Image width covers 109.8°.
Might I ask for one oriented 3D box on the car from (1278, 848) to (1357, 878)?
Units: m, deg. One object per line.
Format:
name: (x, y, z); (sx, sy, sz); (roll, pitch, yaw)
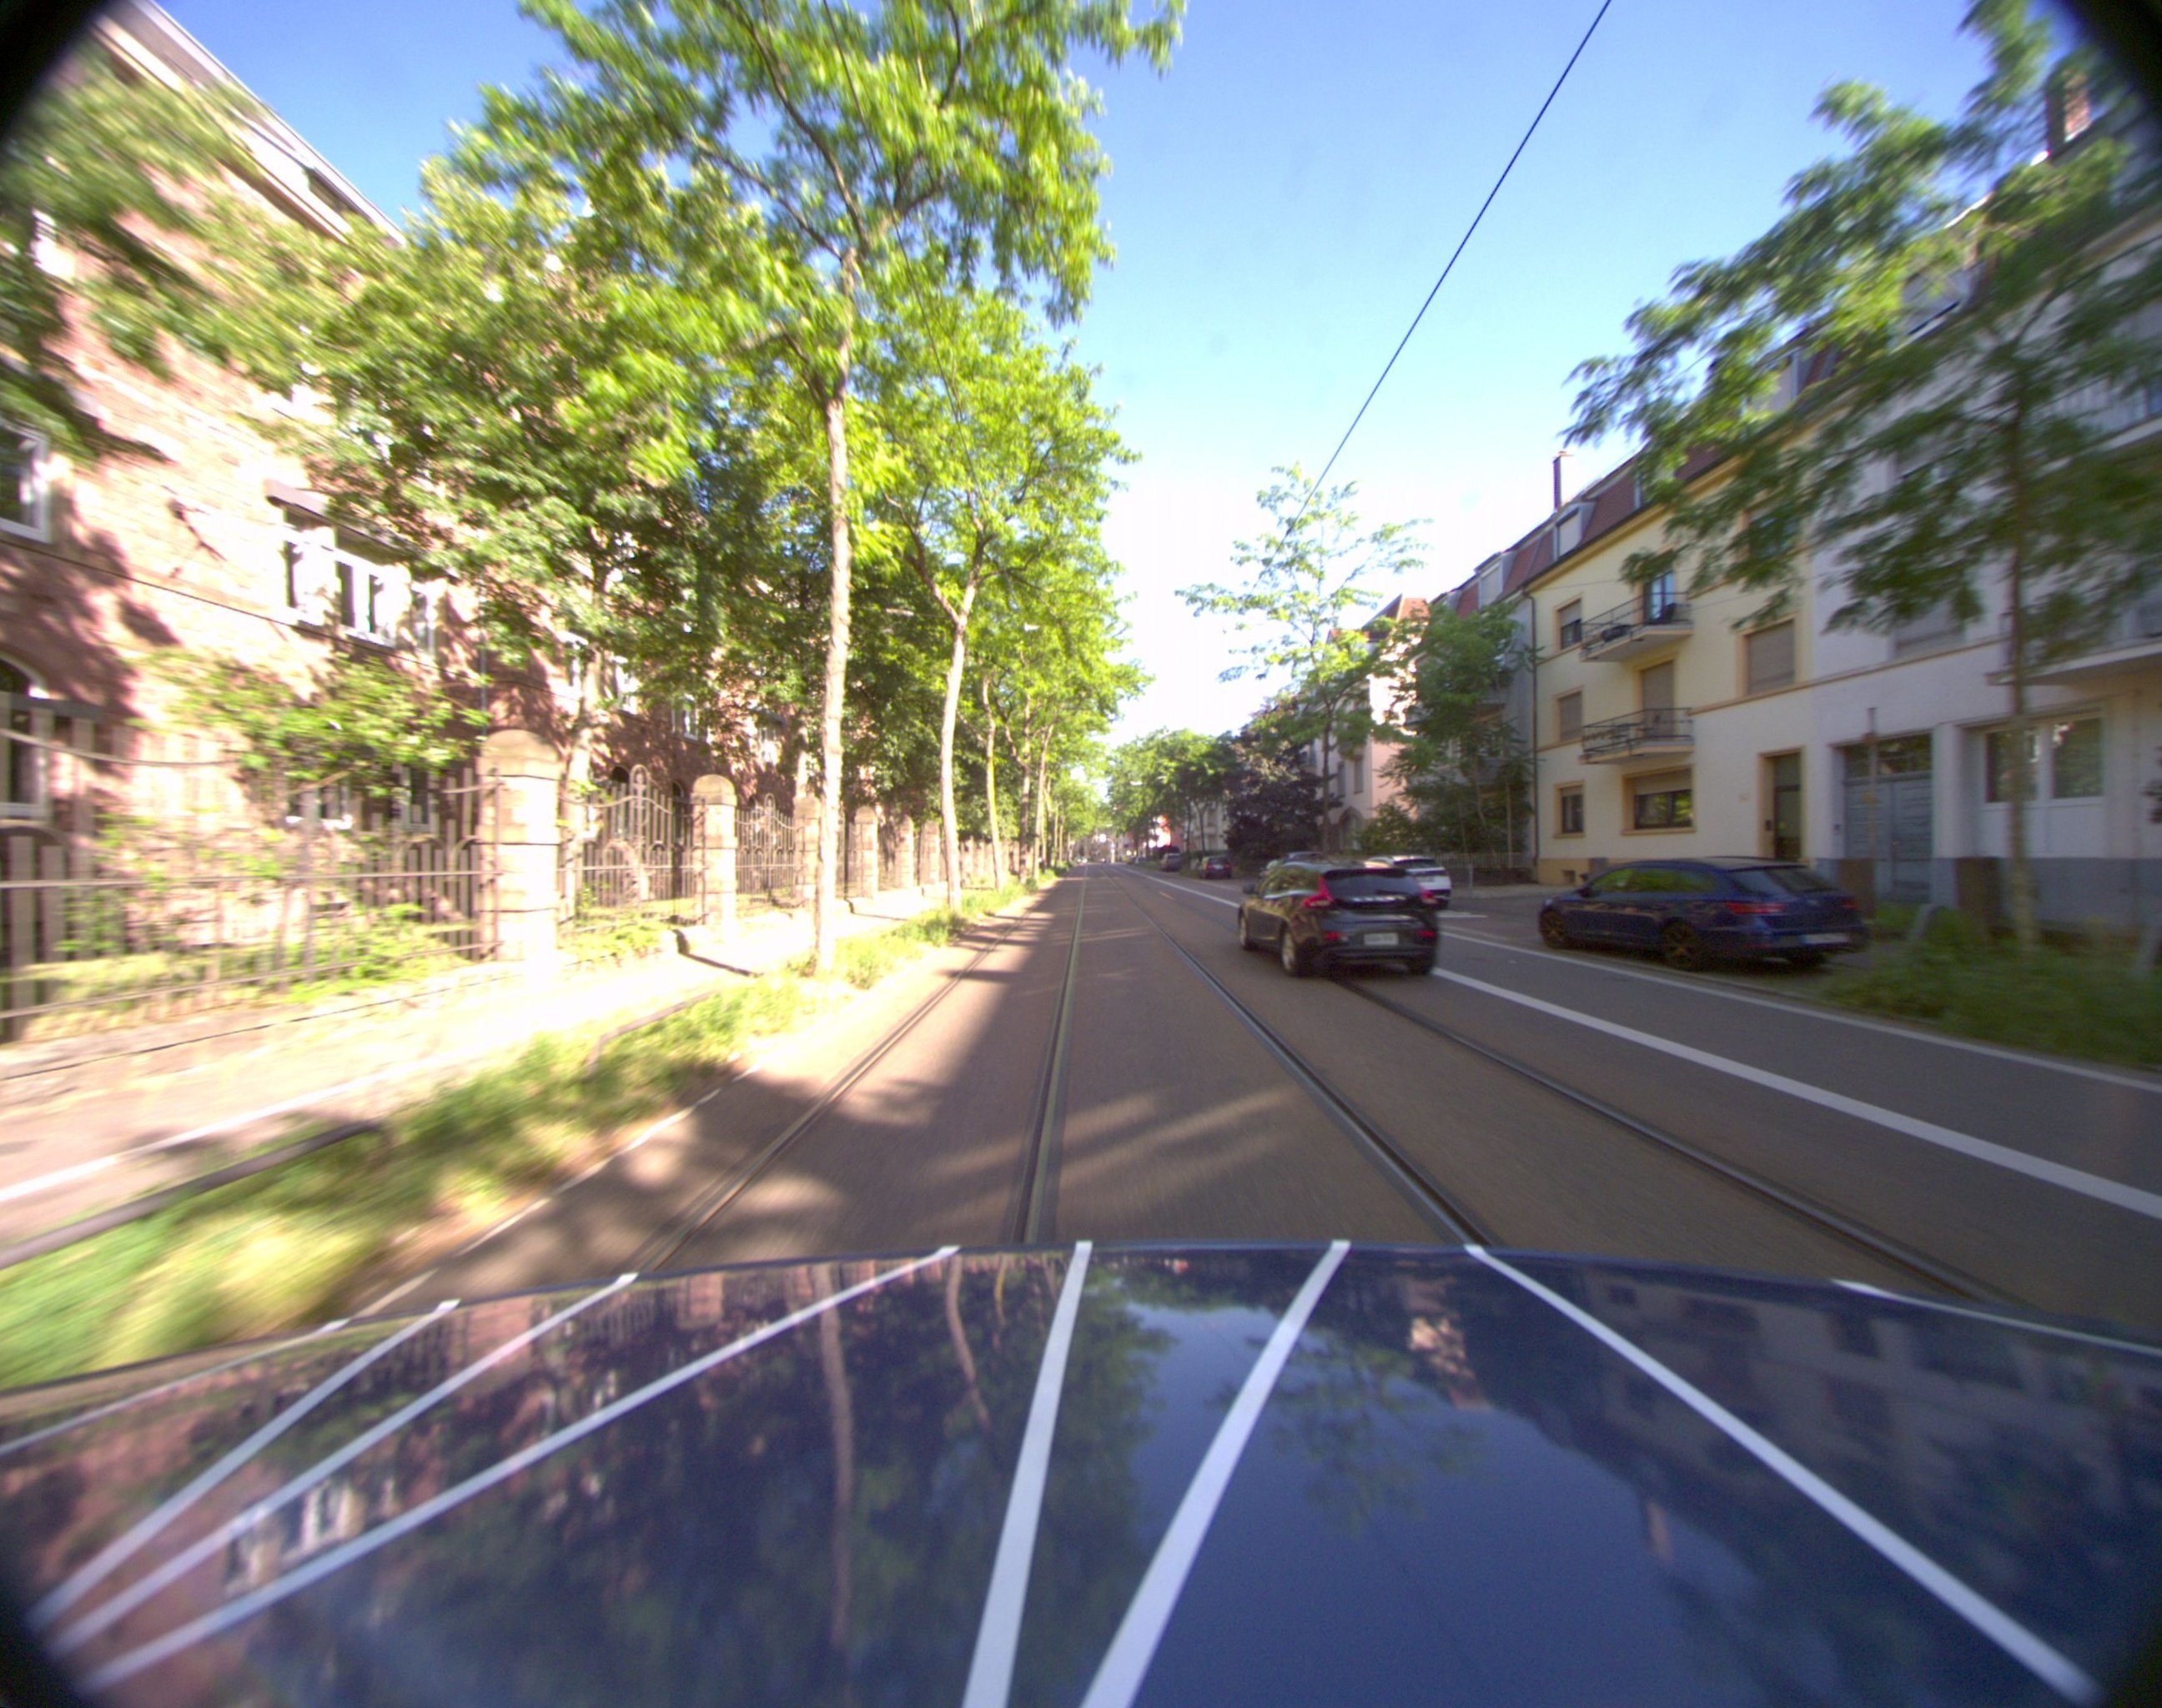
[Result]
car: (14.312, 0.544, 46.161); (4.177, 1.649, 1.983); (-2, 0, -1)

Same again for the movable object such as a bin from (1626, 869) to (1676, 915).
movable object such as a bin: (12.709, 0.835, 16.952); (0.561, 0.970, 0.733); (-3, 0, 4)

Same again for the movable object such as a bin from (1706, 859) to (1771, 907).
movable object such as a bin: (15.149, 0.659, 17.524); (0.846, 1.040, 0.733); (-3, 0, 4)

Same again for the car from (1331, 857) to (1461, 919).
car: (8.749, 0.866, 21.562); (1.822, 1.502, 4.371); (-2, 0, 0)

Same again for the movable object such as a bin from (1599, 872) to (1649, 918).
movable object such as a bin: (12.136, 0.906, 16.995); (0.561, 0.970, 0.733); (-3, 0, 4)

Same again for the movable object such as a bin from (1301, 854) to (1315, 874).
movable object such as a bin: (12.159, 0.554, 40.637); (0.542, 1.060, 0.670); (-1, 1, 1)

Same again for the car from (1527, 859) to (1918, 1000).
car: (8.577, 0.868, 10.828); (1.762, 1.502, 4.438); (-2, 0, 0)

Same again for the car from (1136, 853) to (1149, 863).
car: (10.160, 0.650, 125.879); (1.629, 1.526, 3.689); (-2, 0, -1)

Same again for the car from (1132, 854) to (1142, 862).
car: (10.092, 0.711, 137.682); (1.558, 1.446, 3.668); (-2, 0, 1)

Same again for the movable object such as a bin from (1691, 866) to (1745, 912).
movable object such as a bin: (14.019, 0.760, 16.740); (0.561, 0.970, 0.733); (-3, 0, 4)

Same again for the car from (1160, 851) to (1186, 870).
car: (9.342, 0.661, 77.515); (1.875, 1.812, 4.771); (-2, 0, -1)

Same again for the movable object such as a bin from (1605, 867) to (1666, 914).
movable object such as a bin: (12.904, 0.840, 17.701); (0.846, 1.040, 0.733); (-3, 0, 4)

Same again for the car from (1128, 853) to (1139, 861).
car: (10.186, 0.576, 146.717); (1.577, 1.446, 4.095); (-2, 0, -2)

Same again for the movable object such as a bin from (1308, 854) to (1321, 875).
movable object such as a bin: (12.151, 0.539, 39.534); (0.548, 1.060, 0.510); (-1, 1, 1)

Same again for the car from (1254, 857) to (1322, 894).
car: (8.863, 0.890, 32.916); (1.710, 1.398, 4.333); (-2, 0, 0)

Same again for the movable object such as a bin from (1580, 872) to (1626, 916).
movable object such as a bin: (12.184, 0.924, 17.754); (0.561, 0.970, 0.733); (-3, 0, 4)

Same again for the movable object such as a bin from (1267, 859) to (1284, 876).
movable object such as a bin: (12.434, 0.858, 48.482); (0.877, 1.060, 0.814); (-1, 0, 1)

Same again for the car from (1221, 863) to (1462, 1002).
car: (3.276, 0.883, 10.588); (1.762, 1.431, 4.523); (-1, 0, 0)

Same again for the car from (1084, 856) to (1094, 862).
car: (2.017, 1.340, 199.159); (1.880, 1.390, 3.997); (-4, 0, -10)

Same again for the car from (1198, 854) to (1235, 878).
car: (9.238, 0.803, 52.053); (1.781, 1.532, 4.485); (-2, 0, 1)
